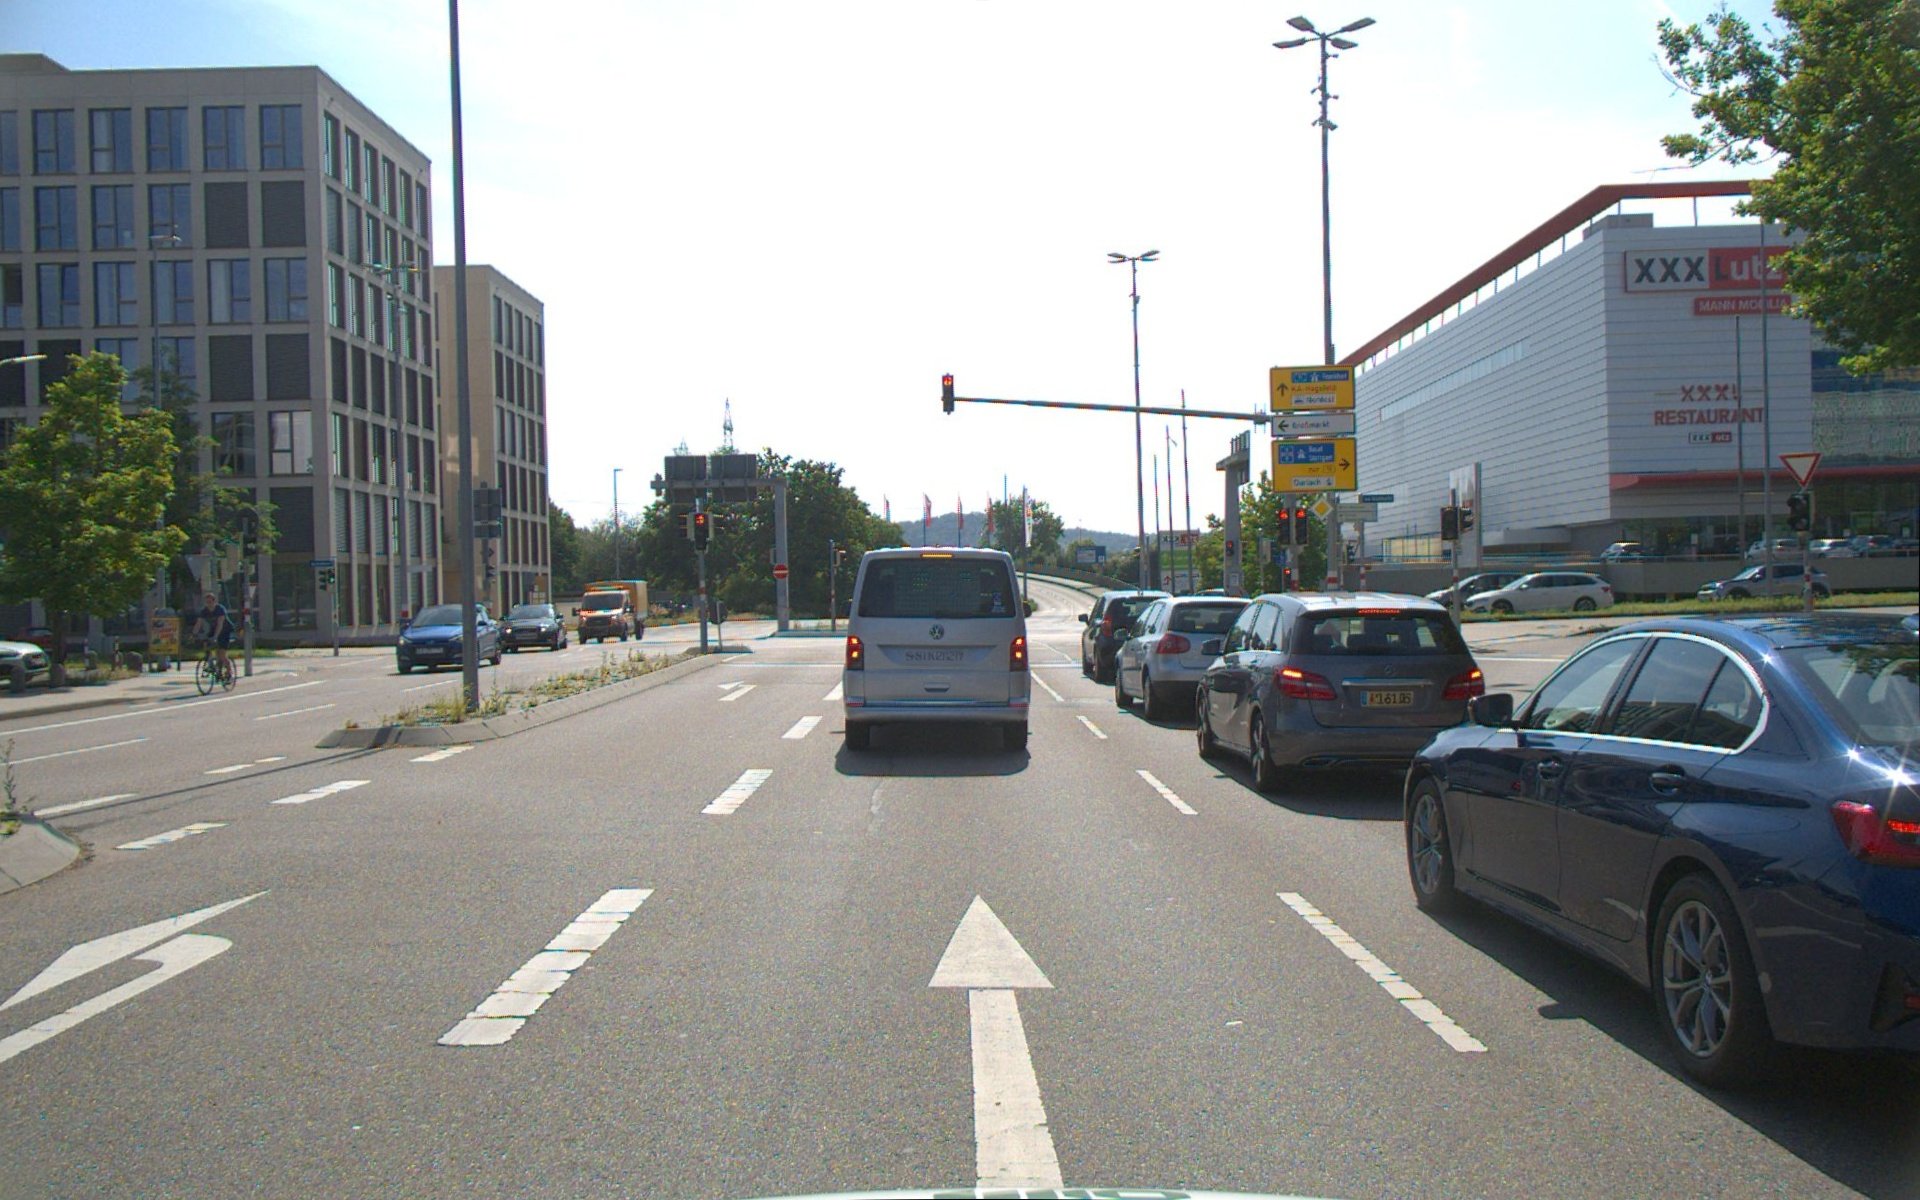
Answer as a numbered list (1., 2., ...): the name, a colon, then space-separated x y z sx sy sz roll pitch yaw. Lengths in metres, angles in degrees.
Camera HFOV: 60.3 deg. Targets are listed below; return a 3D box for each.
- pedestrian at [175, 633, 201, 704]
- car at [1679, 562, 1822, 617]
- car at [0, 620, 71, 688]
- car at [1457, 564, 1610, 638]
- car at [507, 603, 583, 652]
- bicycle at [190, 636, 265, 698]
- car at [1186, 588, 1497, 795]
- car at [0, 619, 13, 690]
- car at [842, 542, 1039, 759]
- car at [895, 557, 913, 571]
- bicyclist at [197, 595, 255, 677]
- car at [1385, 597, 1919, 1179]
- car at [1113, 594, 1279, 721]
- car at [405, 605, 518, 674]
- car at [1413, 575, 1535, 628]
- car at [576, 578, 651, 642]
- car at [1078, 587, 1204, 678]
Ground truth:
1. pedestrian: -22.753 2.019 48.778 0.548 2.049 0.575 0 0 -9
2. car: 26.696 -0.354 55.932 4.046 1.545 1.481 -4 0 4
3. car: -21.943 1.310 36.606 3.521 1.381 1.640 -5 1 0
4. car: 18.551 0.033 53.609 4.310 2.029 1.481 -4 0 4
5. car: -13.329 0.864 53.316 1.545 1.434 4.376 -2 0 -3
6. bicycle: -13.959 1.262 31.555 0.573 1.069 1.876 -3 0 -1
7. car: 3.146 0.676 14.471 1.711 1.543 4.077 0 0 -1
8. car: -22.086 1.327 34.213 3.795 1.490 1.868 -5 1 1
9. car: -0.210 0.465 17.536 1.846 2.025 3.999 0 0 -1
10. car: -8.730 -5.573 256.974 1.961 2.049 3.983 0 0 -16
11. bicyclist: -13.999 0.675 31.562 0.617 1.527 1.028 -2 0 -1
12. car: 3.150 0.741 6.540 1.711 1.484 4.475 0 0 -1
13. car: 2.970 0.674 21.448 1.546 1.483 3.784 0 0 -1
14. car: -11.619 0.894 38.775 1.648 1.382 3.839 -2 1 -3
15. car: 17.616 0.056 56.775 3.694 1.545 1.481 -4 0 4
16. car: -15.108 0.403 72.524 2.358 2.605 6.888 -2 0 -5
17. car: 3.236 0.544 30.194 1.799 1.552 3.999 0 0 -1
